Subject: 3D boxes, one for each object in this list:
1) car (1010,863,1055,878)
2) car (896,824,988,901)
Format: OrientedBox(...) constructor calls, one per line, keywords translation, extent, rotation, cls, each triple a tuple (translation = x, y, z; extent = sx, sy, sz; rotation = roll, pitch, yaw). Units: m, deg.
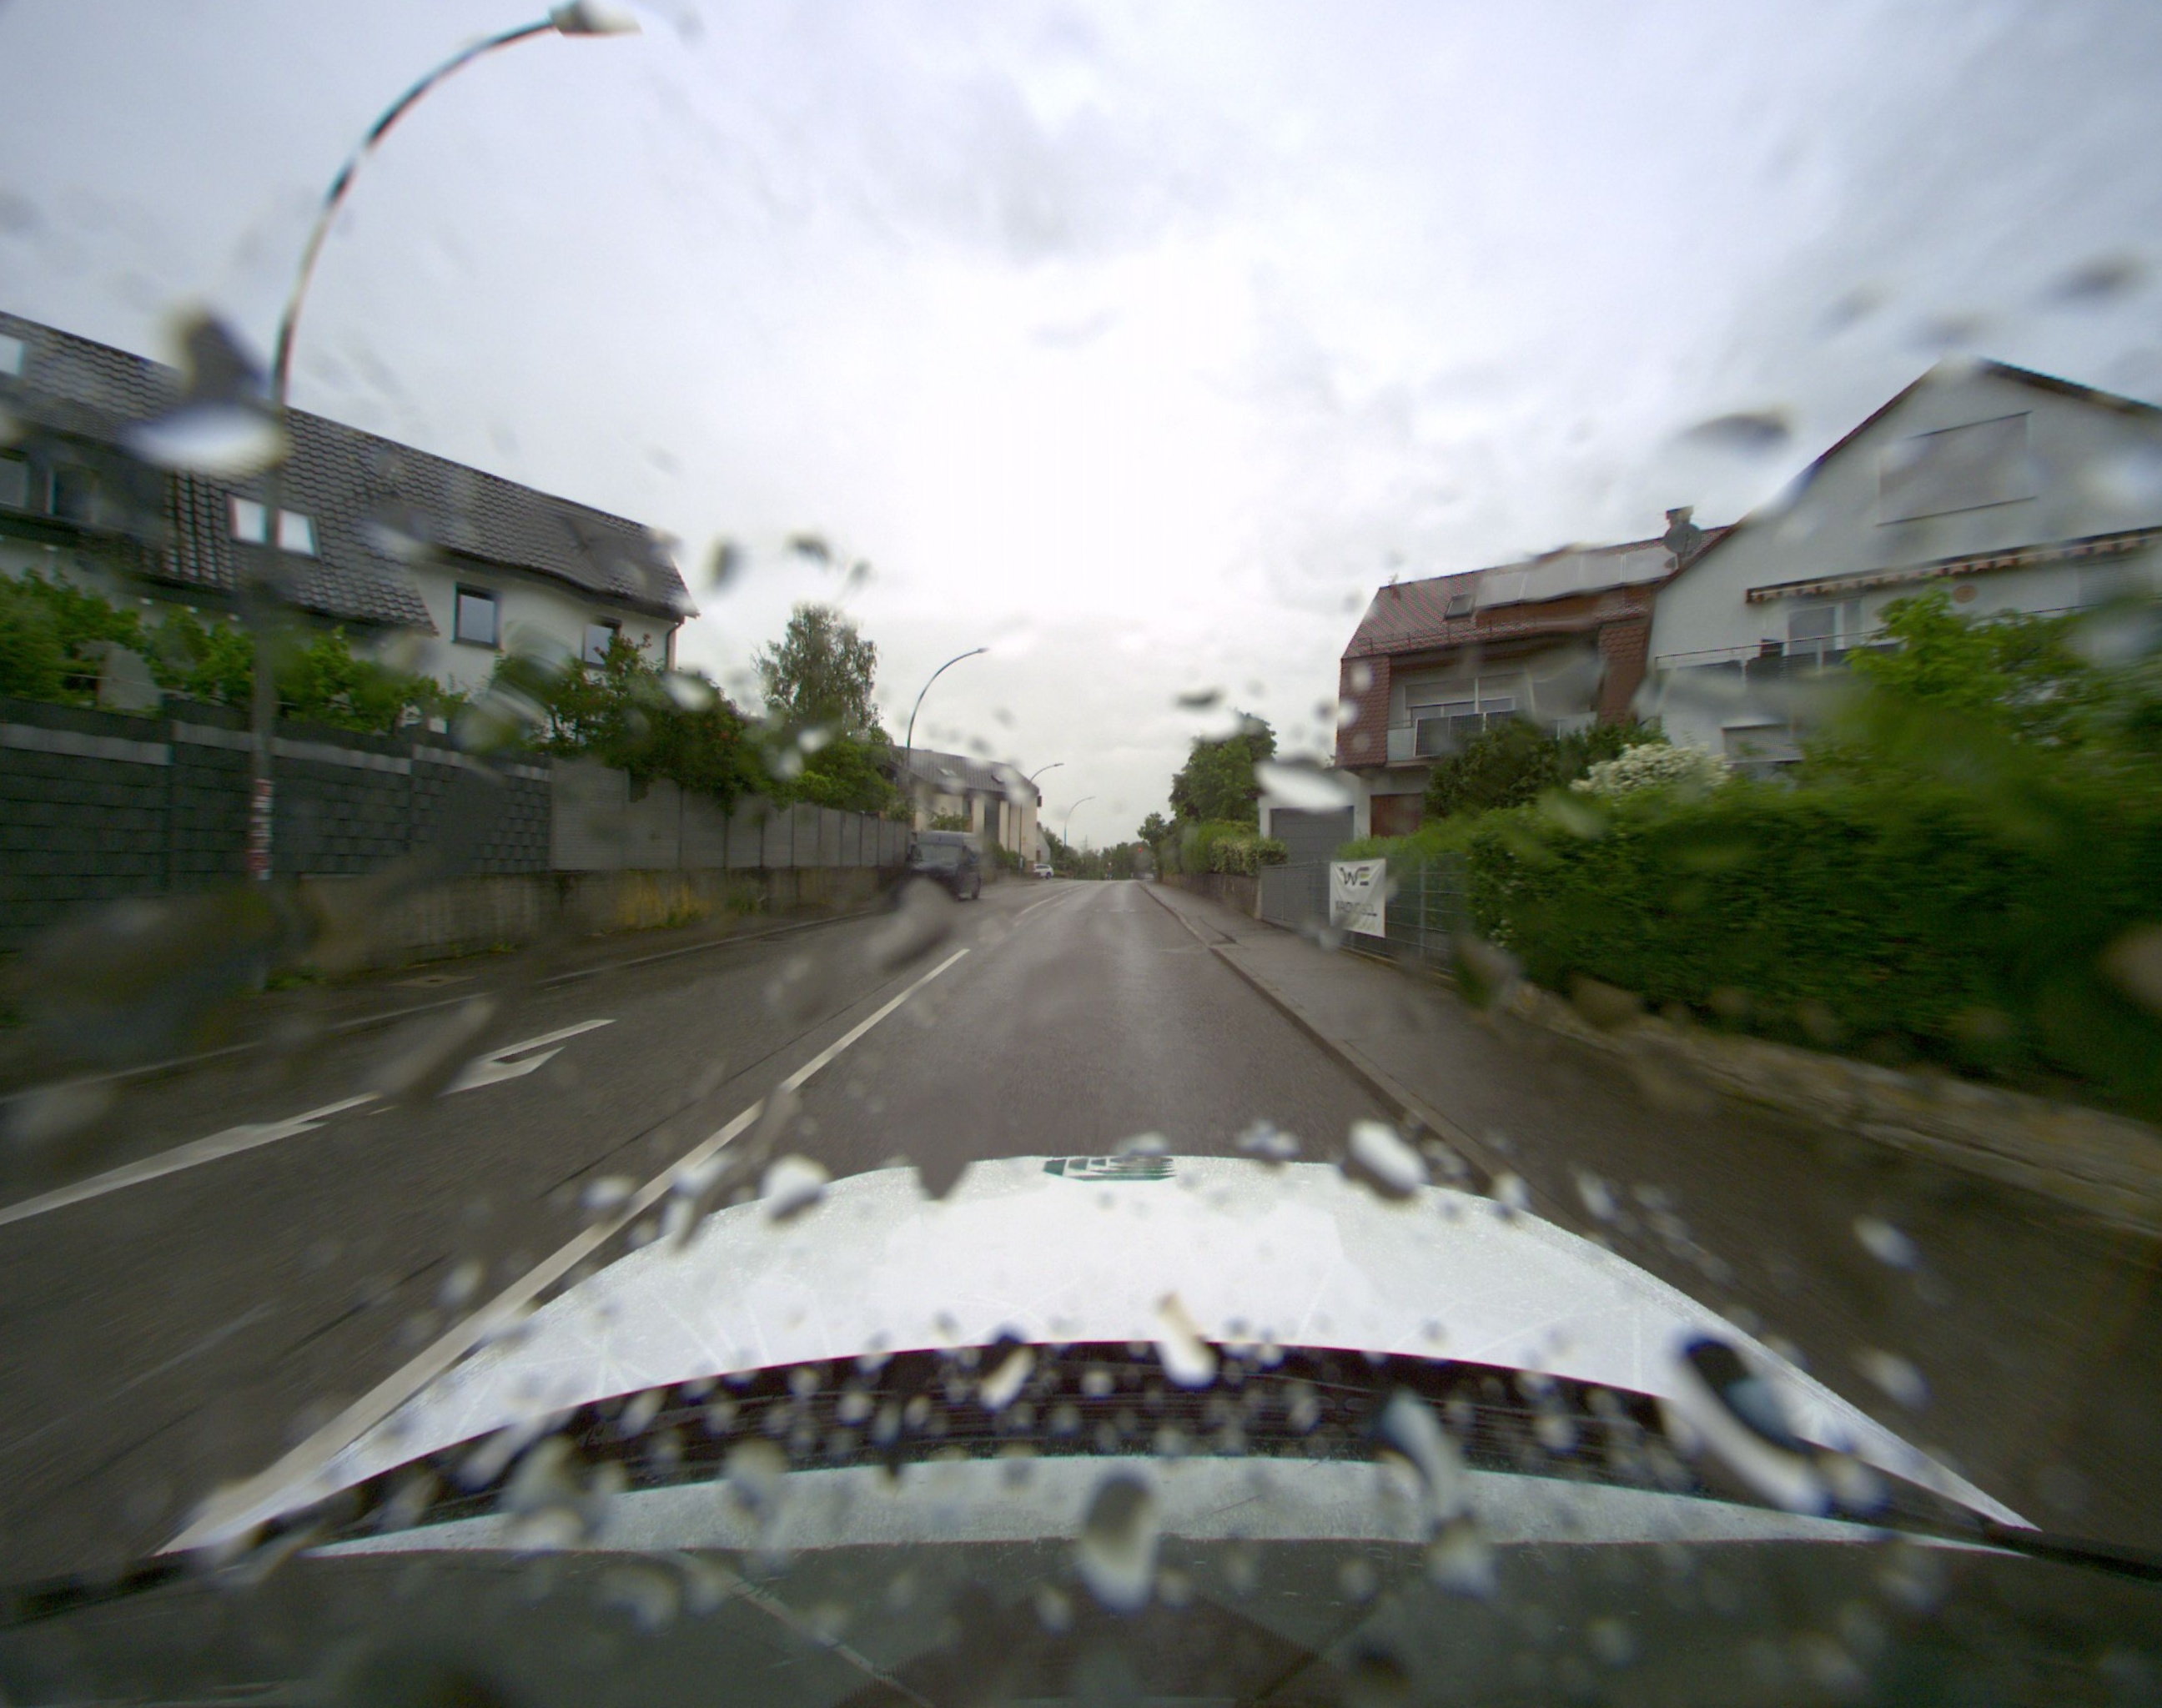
OrientedBox(translation=(-4.966, 1.658, 83.895), extent=(1.883, 1.477, 4.912), rotation=(1, 0, 38), cls="car")
OrientedBox(translation=(-5.227, 0.325, 31.656), extent=(2.085, 2.649, 5.925), rotation=(1, -1, 4), cls="car")
